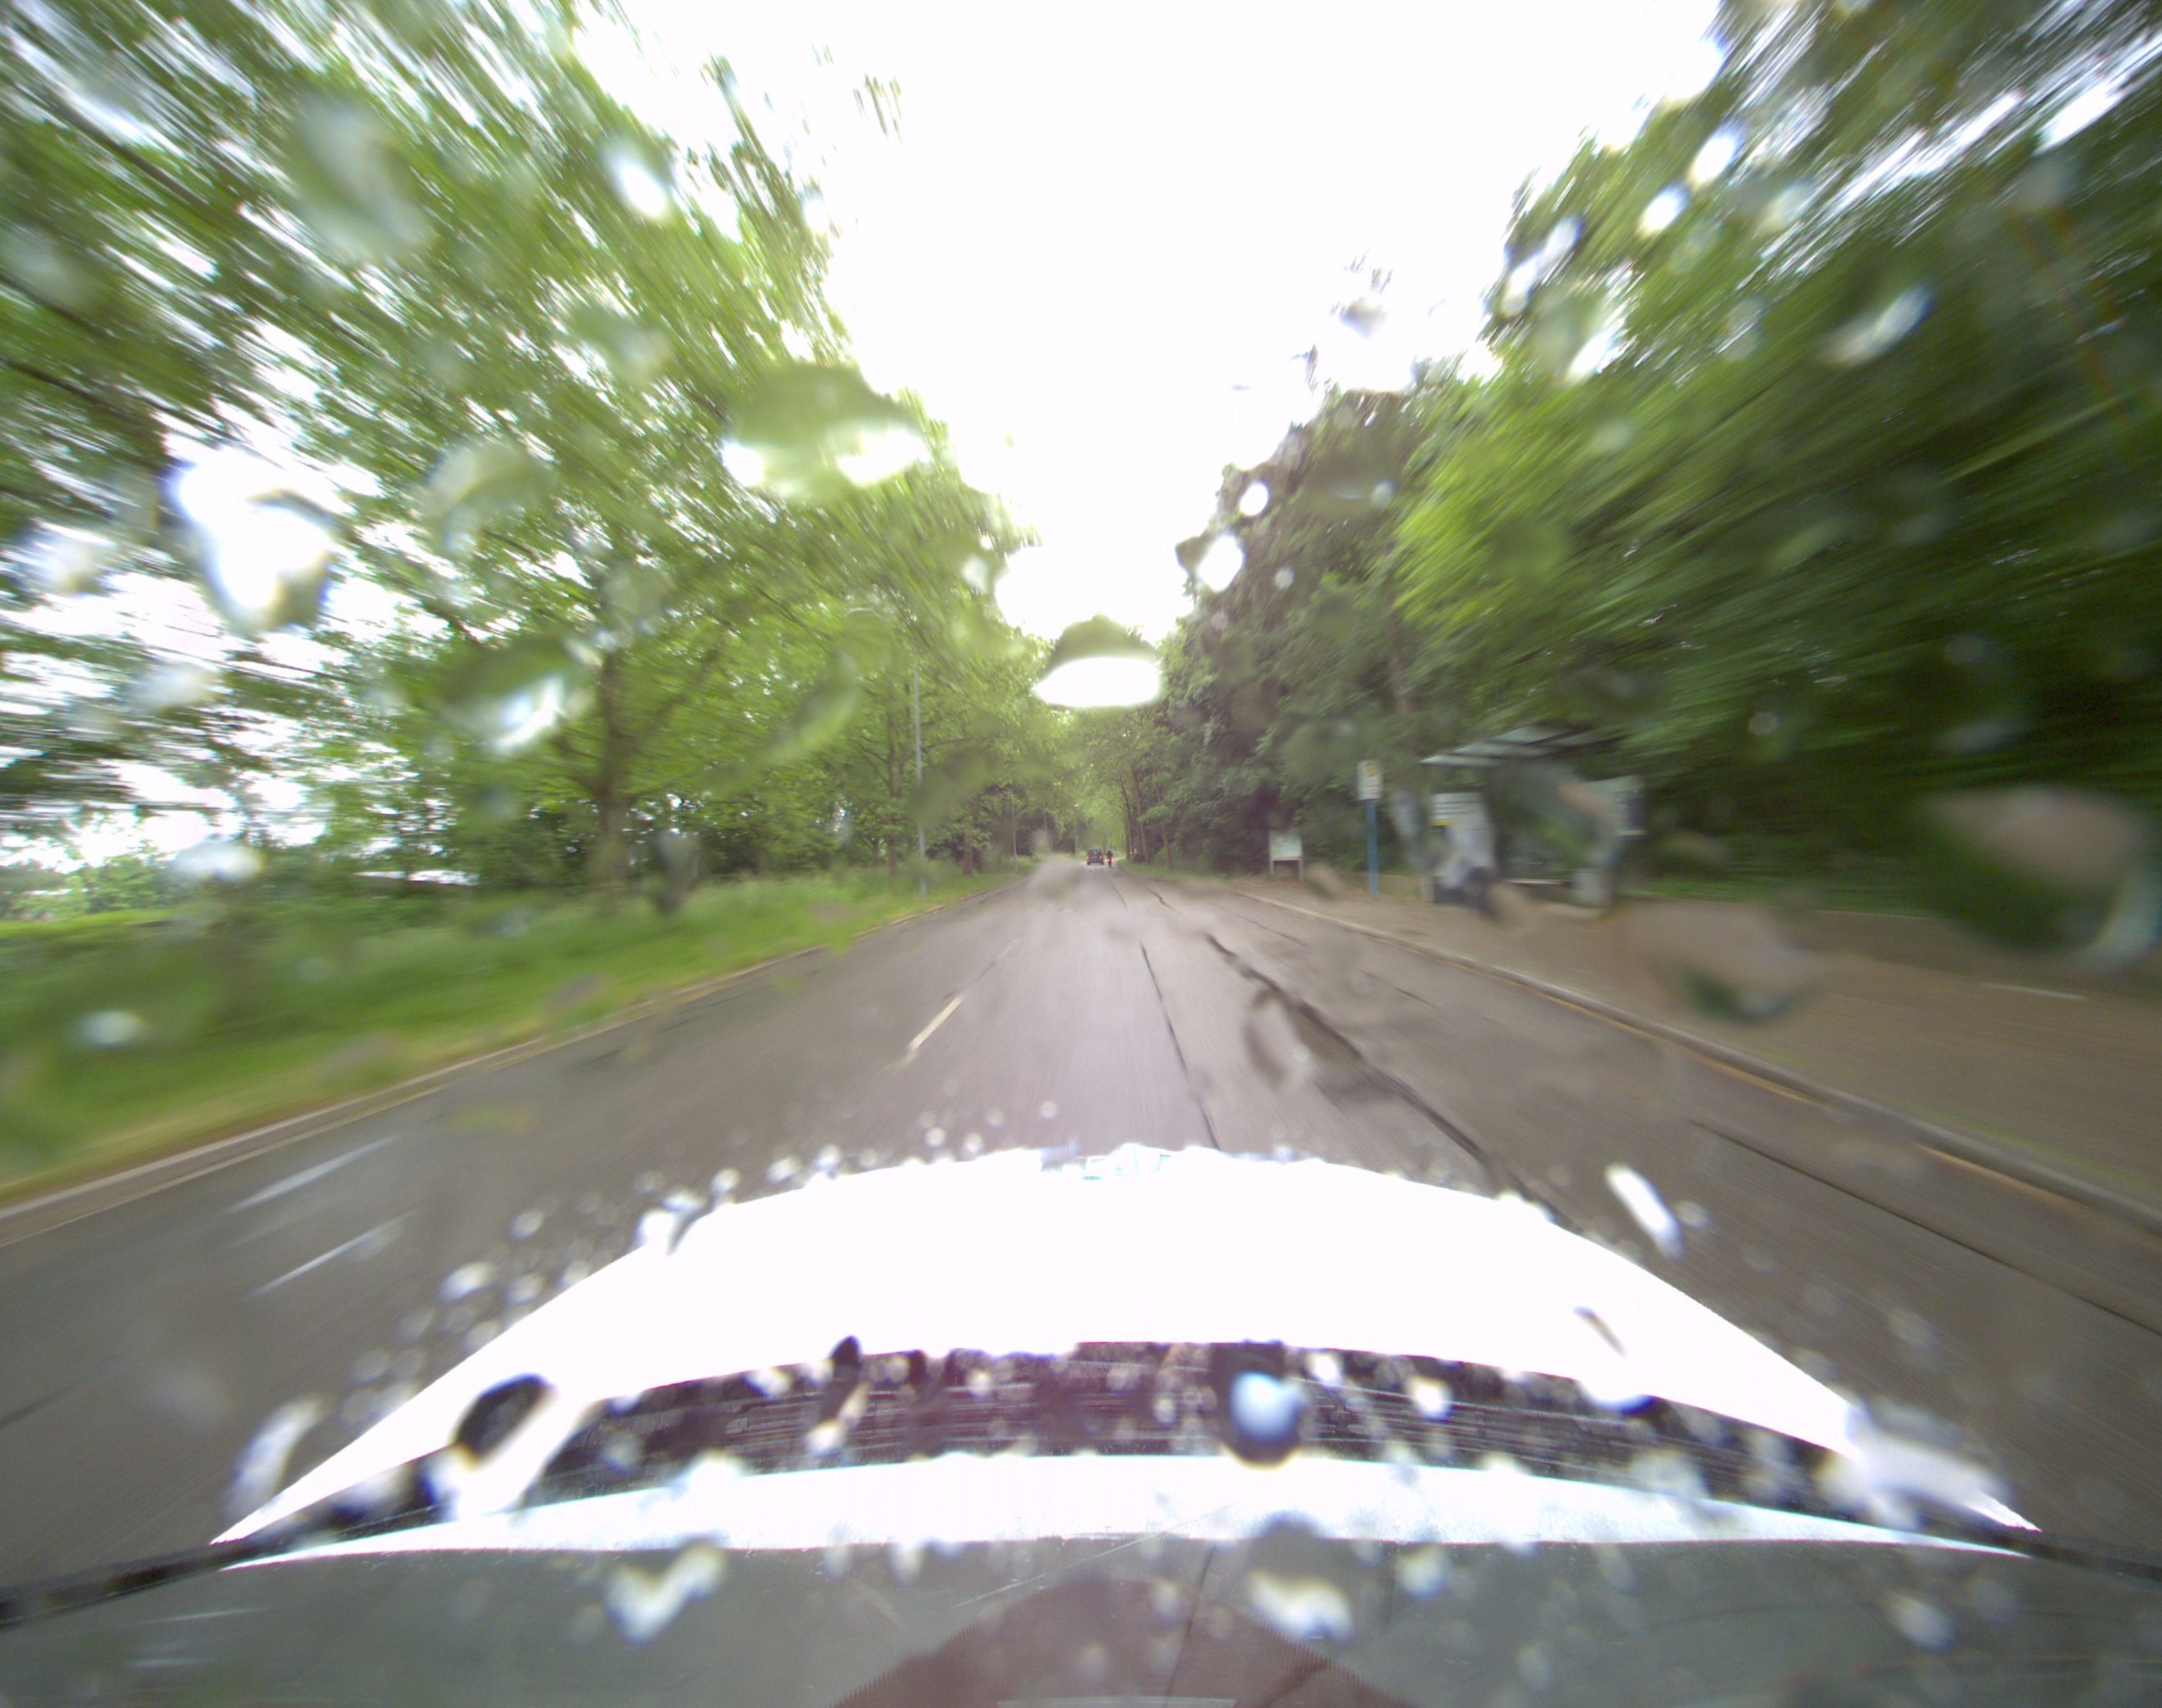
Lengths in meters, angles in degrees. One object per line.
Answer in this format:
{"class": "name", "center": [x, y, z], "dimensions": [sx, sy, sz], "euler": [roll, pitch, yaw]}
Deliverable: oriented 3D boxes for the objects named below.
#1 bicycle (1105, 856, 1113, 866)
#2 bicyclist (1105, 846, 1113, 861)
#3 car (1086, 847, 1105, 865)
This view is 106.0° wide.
{"class": "bicycle", "center": [2.622, 0.658, 76.272], "dimensions": [0.726, 0.974, 2.175], "euler": [-1, 0, 4]}
{"class": "bicyclist", "center": [2.600, -0.035, 76.154], "dimensions": [0.726, 1.411, 0.974], "euler": [-1, 0, 4]}
{"class": "car", "center": [1.559, 0.261, 91.632], "dimensions": [1.979, 1.925, 3.999], "euler": [-2, 0, -1]}
